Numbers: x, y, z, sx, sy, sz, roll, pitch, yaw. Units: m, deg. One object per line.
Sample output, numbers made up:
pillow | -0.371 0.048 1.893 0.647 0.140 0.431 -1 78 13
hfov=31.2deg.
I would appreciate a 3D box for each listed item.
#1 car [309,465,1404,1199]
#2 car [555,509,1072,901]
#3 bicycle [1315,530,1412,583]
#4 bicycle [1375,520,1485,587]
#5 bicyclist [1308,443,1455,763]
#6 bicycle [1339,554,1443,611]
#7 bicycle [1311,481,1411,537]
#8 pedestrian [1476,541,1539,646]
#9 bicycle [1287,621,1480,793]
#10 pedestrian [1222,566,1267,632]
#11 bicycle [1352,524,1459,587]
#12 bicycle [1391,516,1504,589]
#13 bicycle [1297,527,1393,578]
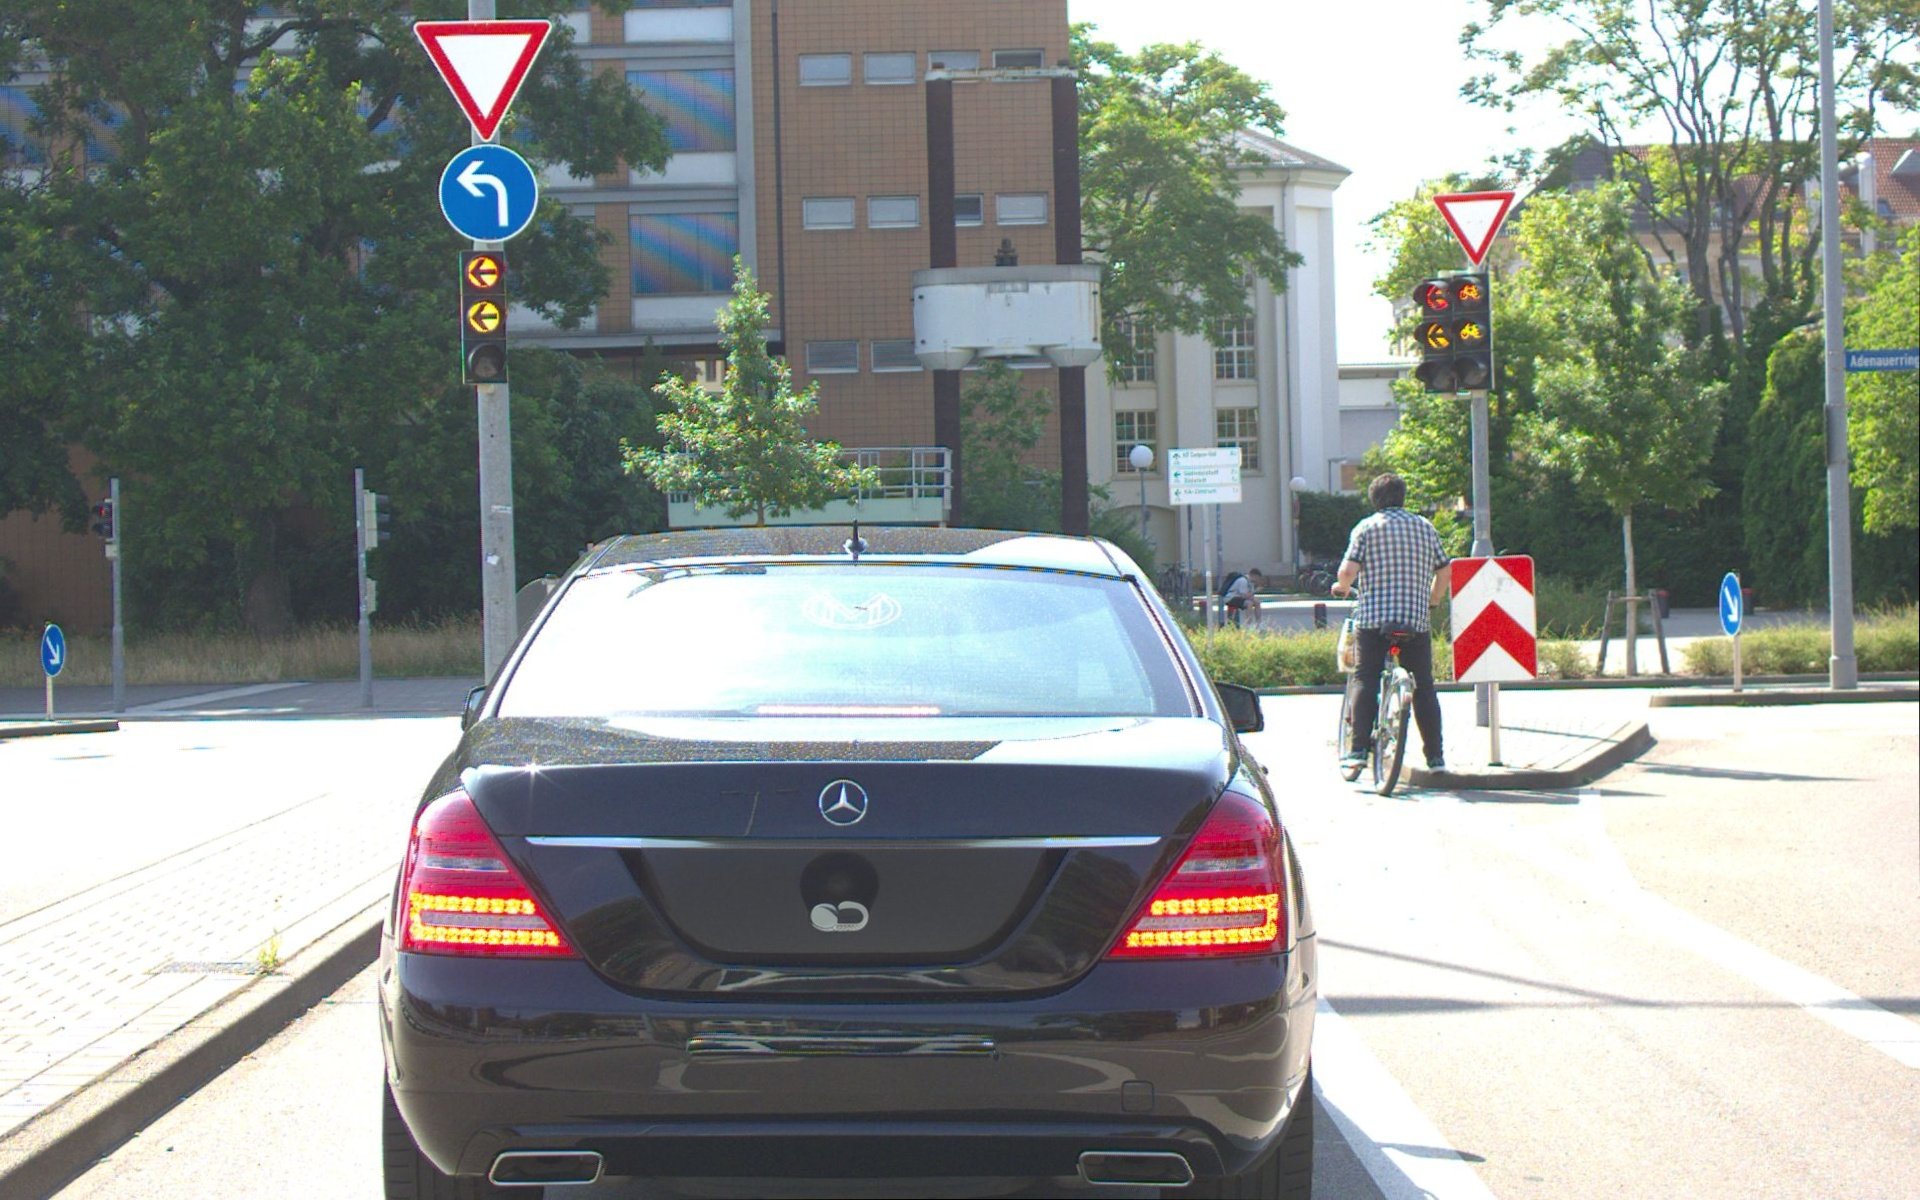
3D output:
car | -0.233 0.516 8.223 1.858 1.525 4.714 0 1 -1
car | -0.594 0.391 15.404 1.993 1.503 4.000 1 1 -1
bicycle | 12.262 -1.321 104.544 2.823 1.495 0.842 -2 1 -1
bicycle | 12.815 -1.277 93.780 2.823 1.738 0.842 -2 1 -1
bicyclist | 2.517 0.011 20.591 0.685 1.872 0.860 0 0 -7
bicycle | 12.319 -0.493 98.376 2.823 1.532 0.842 -2 1 -1
bicycle | 11.929 -2.708 102.213 2.823 1.553 0.842 -2 1 -1
pedestrian | 8.315 -0.099 52.247 0.811 1.574 0.692 -2 0 2
bicycle | 2.513 0.619 20.628 0.692 0.943 1.959 1 1 -7
pedestrian | 5.276 -0.016 63.758 0.793 1.209 0.757 1 0 6
bicycle | 12.476 -1.253 96.327 2.823 1.653 0.842 -2 2 -1
bicycle | 12.977 -1.267 91.521 2.823 1.830 0.842 -2 1 -1
bicycle | 11.883 -1.459 106.240 2.823 1.475 0.841 -2 1 0
